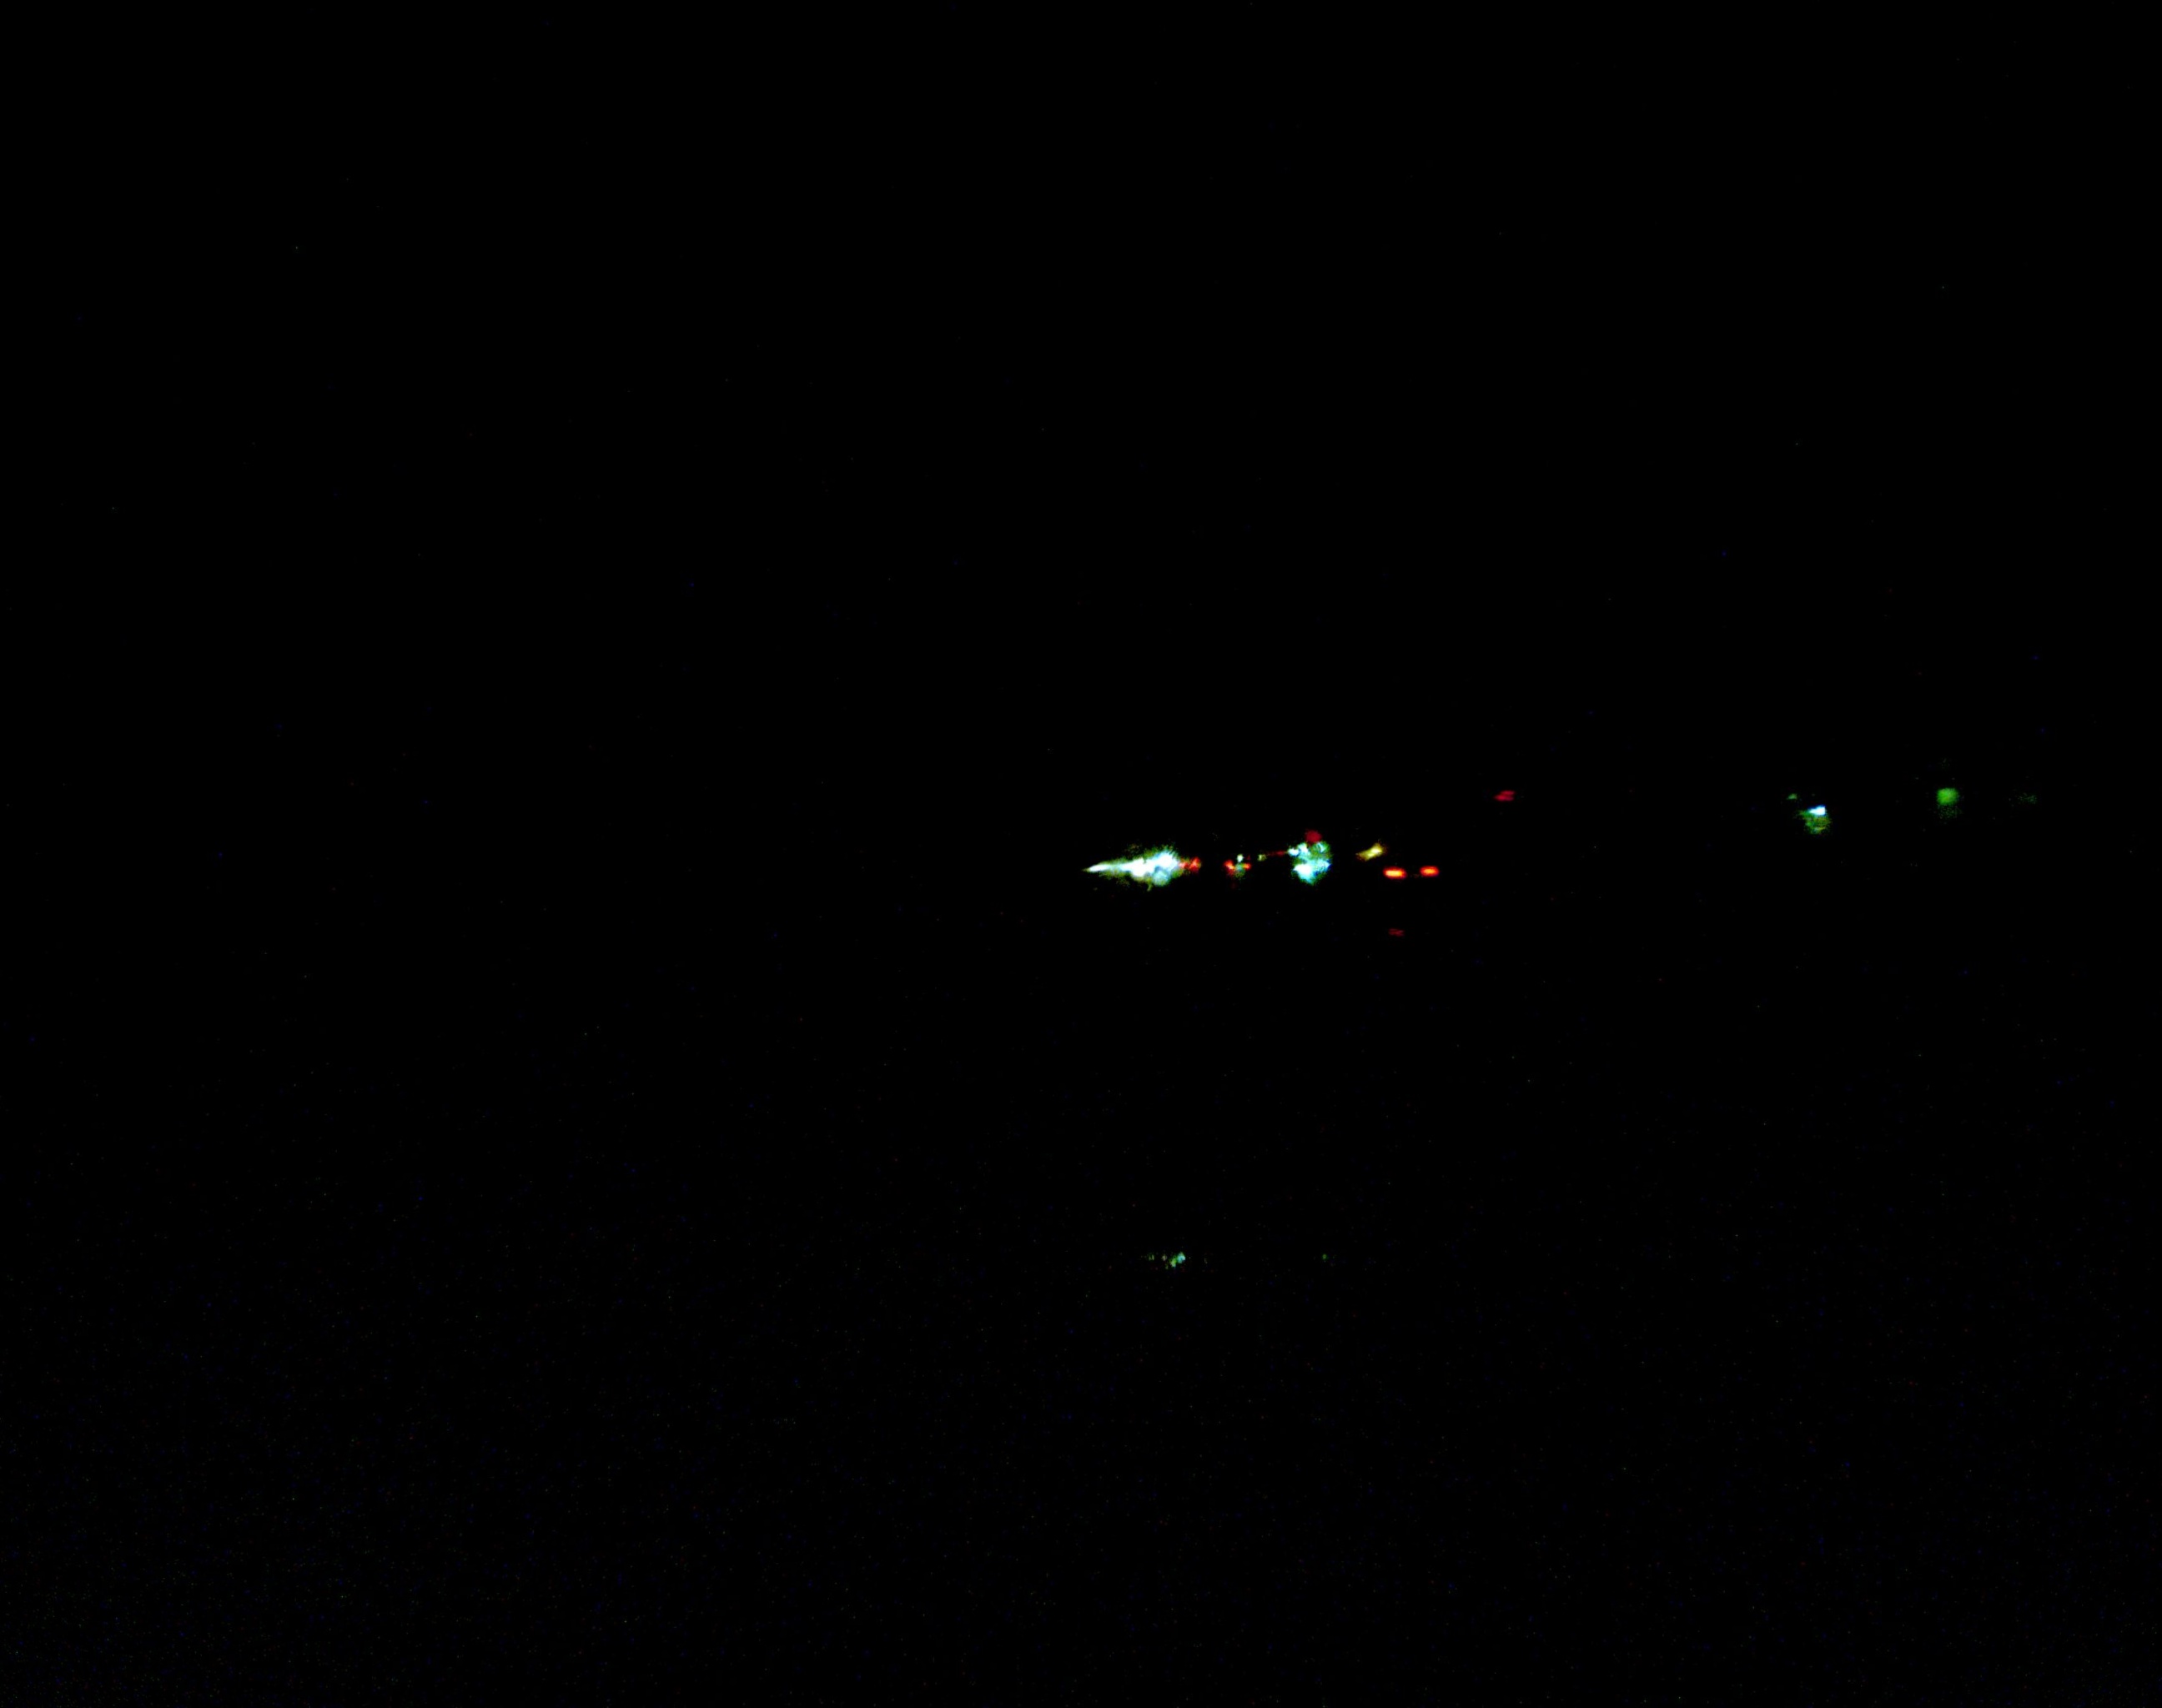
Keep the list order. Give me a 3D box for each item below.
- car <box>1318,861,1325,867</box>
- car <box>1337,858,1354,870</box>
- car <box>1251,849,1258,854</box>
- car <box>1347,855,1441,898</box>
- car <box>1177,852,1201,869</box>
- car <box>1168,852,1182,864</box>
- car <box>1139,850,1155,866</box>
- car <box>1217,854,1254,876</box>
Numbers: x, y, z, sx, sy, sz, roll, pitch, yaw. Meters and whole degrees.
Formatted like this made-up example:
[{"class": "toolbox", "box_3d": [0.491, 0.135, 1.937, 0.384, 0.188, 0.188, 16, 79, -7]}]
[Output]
[{"class": "car", "box_3d": [68.492, 2.739, 216.204, 1.810, 1.561, 4.298, -2, 0, 20]}, {"class": "car", "box_3d": [45.751, 1.745, 131.384, 1.997, 2.002, 4.002, -2, 0, 7]}, {"class": "car", "box_3d": [57.567, -0.969, 251.931, 1.996, 1.604, 4.617, -1, 0, 16]}, {"class": "car", "box_3d": [11.398, 0.771, 27.979, 1.795, 1.433, 3.855, -2, 0, -1]}, {"class": "car", "box_3d": [11.981, 0.672, 84.692, 2.203, 1.735, 4.526, -2, 0, 3]}, {"class": "car", "box_3d": [13.481, 0.524, 109.300, 1.885, 1.591, 3.901, -2, 0, 5]}, {"class": "car", "box_3d": [9.146, 0.529, 105.361, 1.997, 2.002, 4.002, -2, 0, 7]}, {"class": "car", "box_3d": [11.030, 0.790, 54.629, 1.837, 1.433, 4.491, -2, 0, 1]}]
